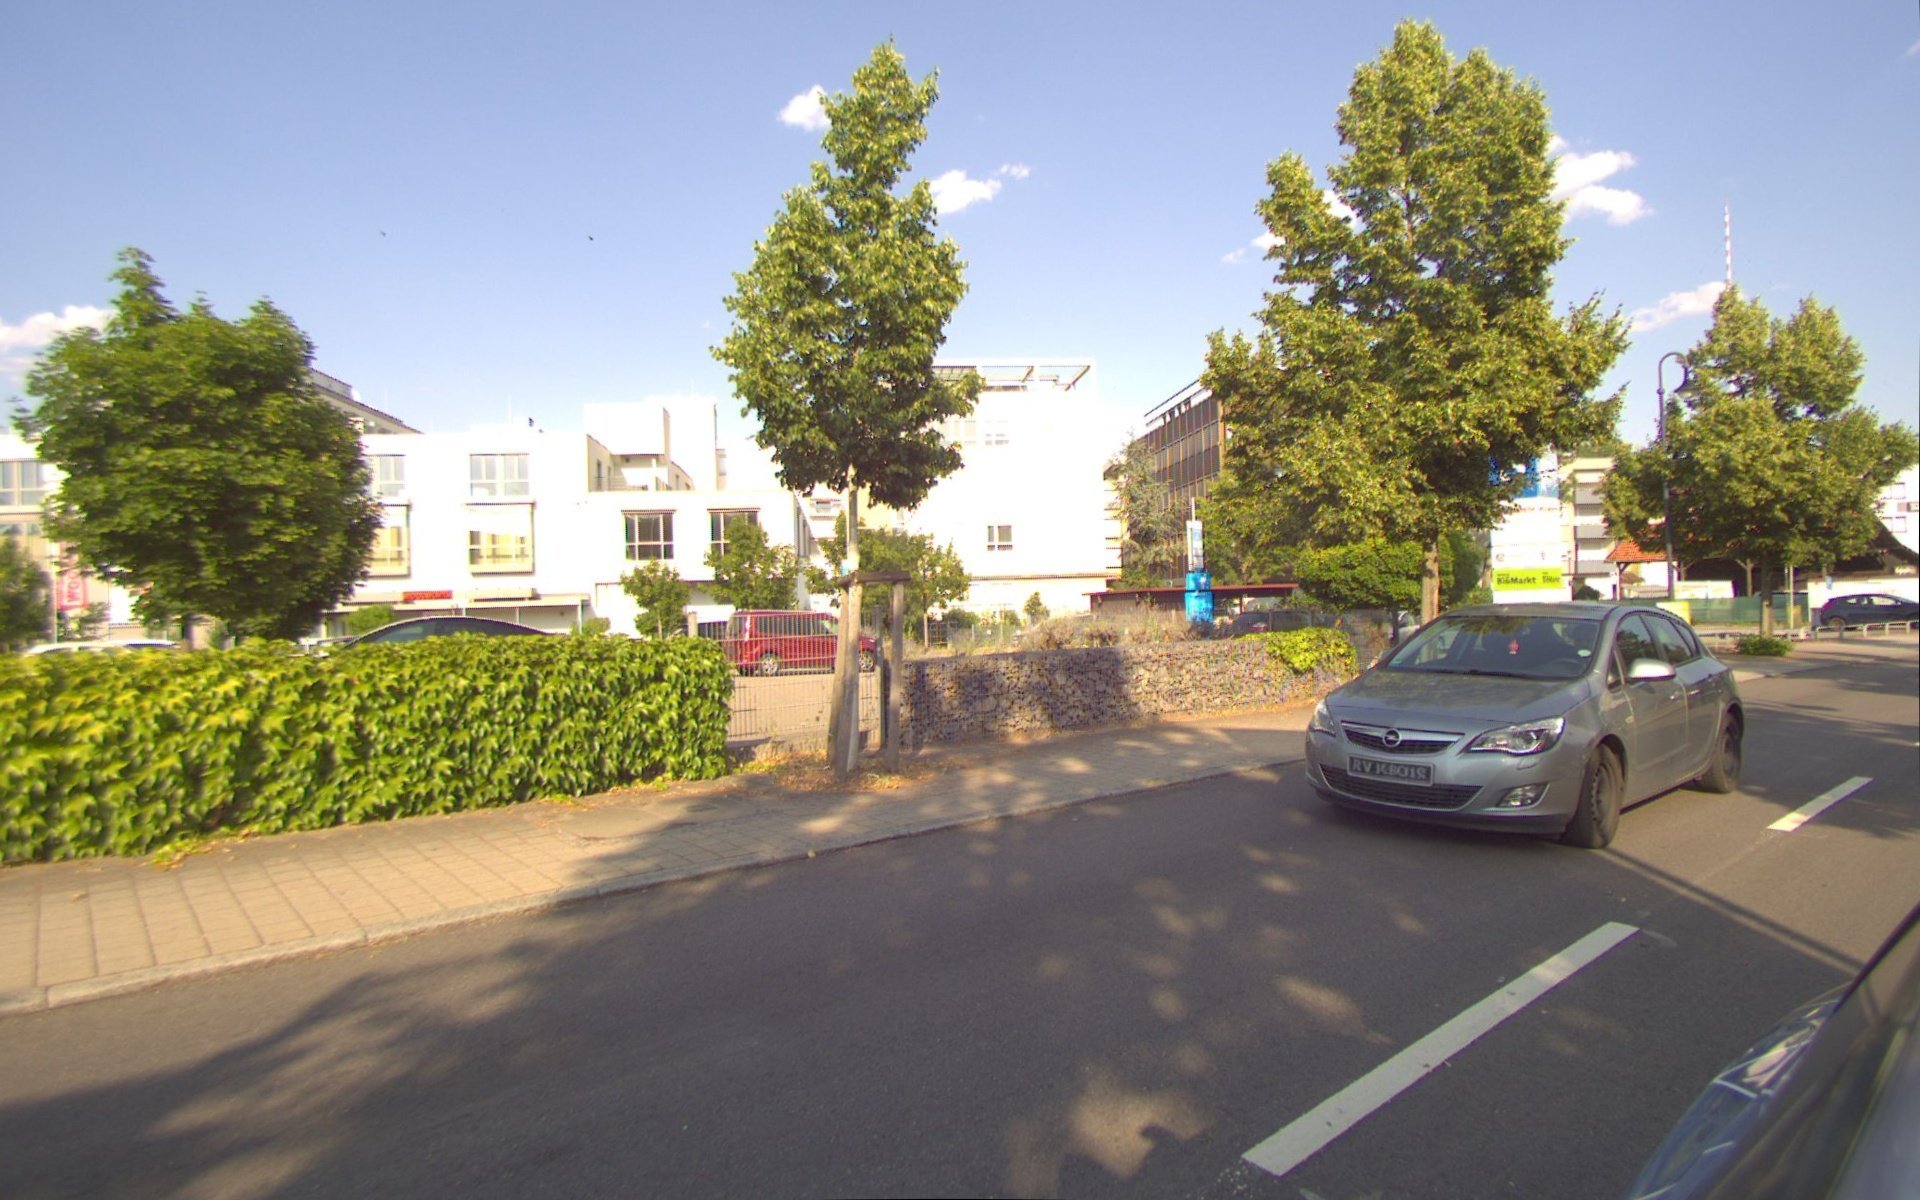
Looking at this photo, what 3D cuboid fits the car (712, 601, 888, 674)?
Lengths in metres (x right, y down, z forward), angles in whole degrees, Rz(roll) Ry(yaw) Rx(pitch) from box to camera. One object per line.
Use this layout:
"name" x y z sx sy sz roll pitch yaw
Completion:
"car" -4.537 1.018 29.023 4.560 1.878 1.999 -1 -1 -36

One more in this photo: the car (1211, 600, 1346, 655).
"car" 9.393 0.775 29.777 3.789 1.481 1.659 -1 -1 -30

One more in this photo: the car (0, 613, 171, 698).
"car" -19.917 1.209 21.923 4.230 1.746 1.895 0 -4 -31

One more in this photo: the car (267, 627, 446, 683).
"car" -18.127 1.601 30.471 4.464 1.462 1.877 -1 -1 -37

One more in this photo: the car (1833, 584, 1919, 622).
"car" 36.750 0.116 39.355 1.900 1.438 3.840 -1 -1 -31

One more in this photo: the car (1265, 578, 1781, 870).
"car" 4.185 0.637 7.240 4.228 1.509 1.725 -1 -1 -39

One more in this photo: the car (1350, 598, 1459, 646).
"car" 14.145 0.681 32.198 3.203 1.417 1.617 -1 -1 -32

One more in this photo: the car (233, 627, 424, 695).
"car" -15.604 1.438 25.068 3.879 1.462 1.999 -1 -1 -37

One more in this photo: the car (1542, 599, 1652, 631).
"car" 30.270 0.733 48.203 1.900 1.438 4.002 -1 -1 -31

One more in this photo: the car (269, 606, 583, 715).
"car" -8.968 0.957 17.150 4.464 1.552 1.998 -1 -3 -37

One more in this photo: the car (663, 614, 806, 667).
"car" -7.895 1.365 35.594 4.463 1.669 1.999 -1 -1 -36
